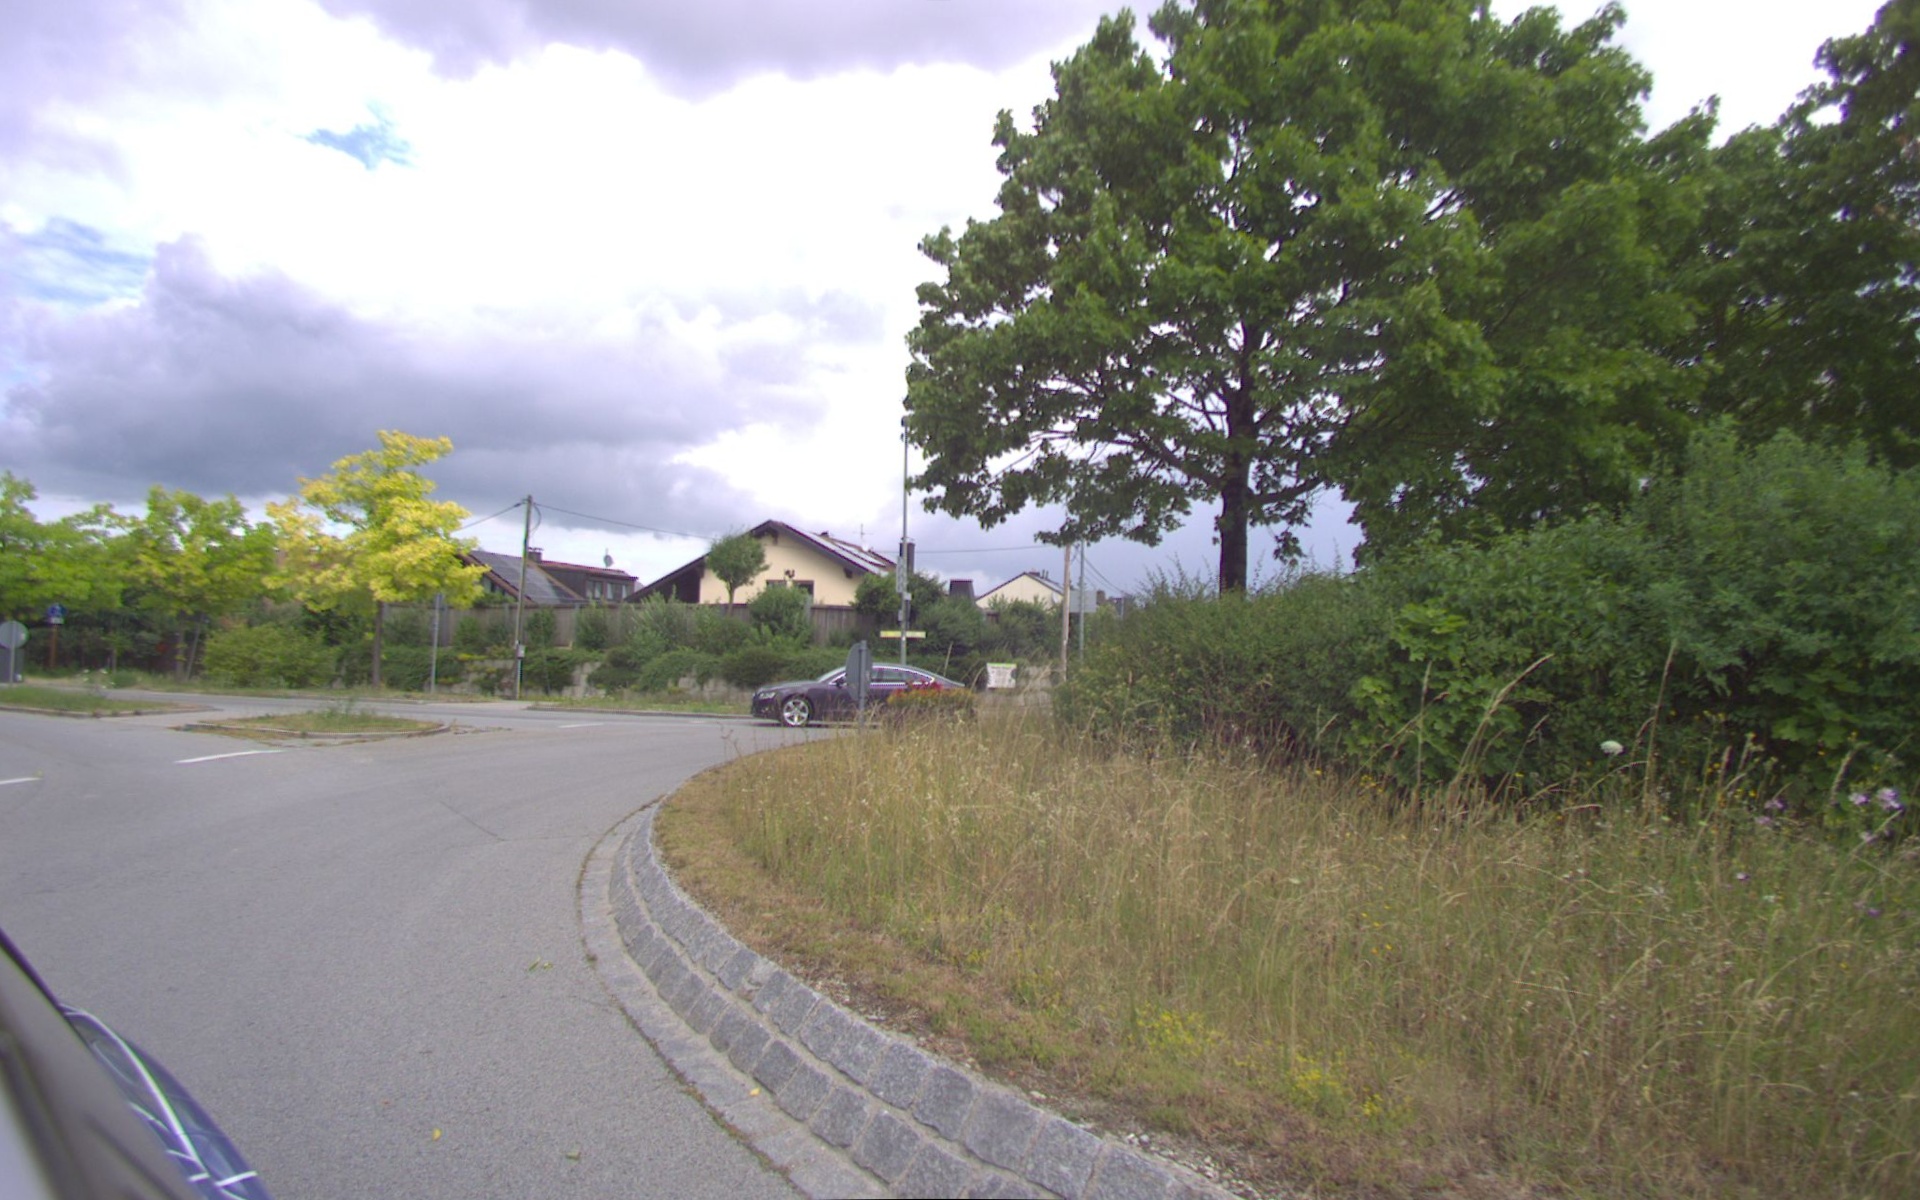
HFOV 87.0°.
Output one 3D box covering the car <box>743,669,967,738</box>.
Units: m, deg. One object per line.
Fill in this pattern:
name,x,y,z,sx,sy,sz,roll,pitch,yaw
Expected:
car,-2.257,2.187,21.562,4.393,1.357,1.942,2,-5,-19
